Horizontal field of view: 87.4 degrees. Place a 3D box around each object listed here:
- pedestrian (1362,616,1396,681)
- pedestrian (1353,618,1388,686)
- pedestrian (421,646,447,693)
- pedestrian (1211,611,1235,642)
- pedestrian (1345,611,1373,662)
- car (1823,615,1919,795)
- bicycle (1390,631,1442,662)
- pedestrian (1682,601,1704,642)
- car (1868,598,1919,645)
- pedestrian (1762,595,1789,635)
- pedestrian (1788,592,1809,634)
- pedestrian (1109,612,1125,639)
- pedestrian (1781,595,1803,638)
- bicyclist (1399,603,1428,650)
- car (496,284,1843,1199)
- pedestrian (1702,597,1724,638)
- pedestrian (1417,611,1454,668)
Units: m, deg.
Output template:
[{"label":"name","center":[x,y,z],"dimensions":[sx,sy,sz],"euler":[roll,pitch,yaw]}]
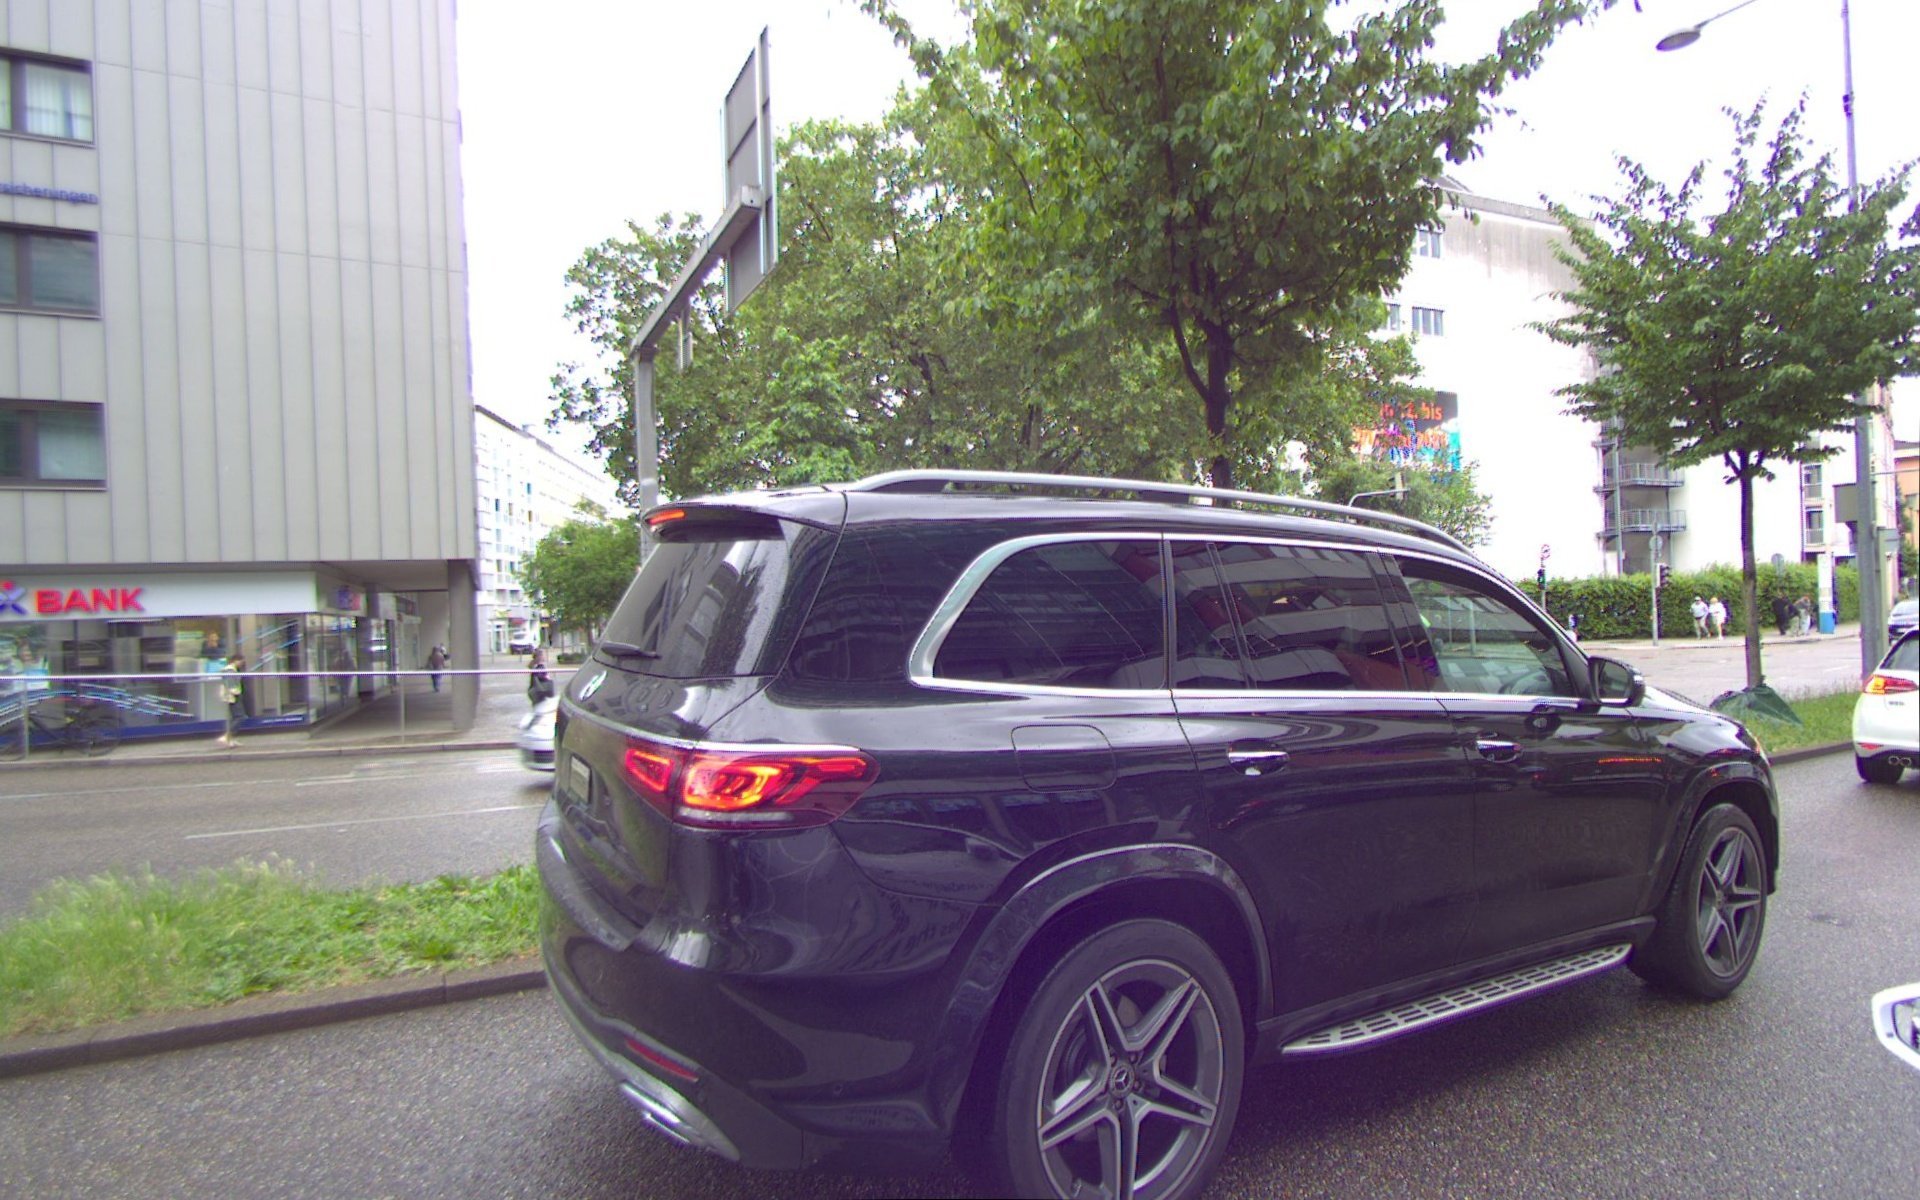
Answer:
[{"label":"pedestrian","center":[11.003,1.259,26.369],"dimensions":[0.572,1.684,0.554],"euler":[-2,0,-30]},{"label":"pedestrian","center":[10.316,1.294,25.263],"dimensions":[0.572,1.684,0.554],"euler":[-2,0,-30]},{"label":"pedestrian","center":[-19.633,2.590,37.494],"dimensions":[0.719,1.719,0.782],"euler":[2,-3,-37]},{"label":"pedestrian","center":[14.193,1.436,54.198],"dimensions":[0.677,1.599,1.055],"euler":[2,-1,-34]},{"label":"pedestrian","center":[13.546,1.238,34.106],"dimensions":[0.572,1.689,0.636],"euler":[-2,0,-30]},{"label":"car","center":[9.546,0.872,8.965],"dimensions":[3.799,1.448,1.768],"euler":[0,0,-32]},{"label":"bicycle","center":[15.298,1.561,33.696],"dimensions":[1.918,1.013,0.612],"euler":[2,-3,-31]},{"label":"pedestrian","center":[30.076,0.880,41.201],"dimensions":[0.522,1.620,0.576],"euler":[2,-1,-36]},{"label":"car","center":[32.210,0.701,33.855],"dimensions":[3.571,1.506,1.565],"euler":[0,1,-33]},{"label":"pedestrian","center":[35.207,0.646,43.367],"dimensions":[0.724,1.664,0.635],"euler":[2,-1,-27]},{"label":"pedestrian","center":[36.058,0.564,43.184],"dimensions":[0.559,1.771,0.535],"euler":[2,-1,-35]},{"label":"pedestrian","center":[9.846,1.586,62.904],"dimensions":[0.723,1.664,0.635],"euler":[2,-1,-23]},{"label":"pedestrian","center":[34.817,0.705,42.022],"dimensions":[0.741,1.771,0.535],"euler":[2,-1,-38]},{"label":"bicyclist","center":[15.197,0.905,33.668],"dimensions":[0.602,1.550,0.629],"euler":[2,-3,-30]},{"label":"car","center":[1.127,0.513,3.793],"dimensions":[5.016,1.895,1.901],"euler":[3,-1,-31]},{"label":"pedestrian","center":[30.449,0.695,40.612],"dimensions":[0.522,1.620,0.576],"euler":[2,-1,-36]},{"label":"pedestrian","center":[14.460,1.198,30.550],"dimensions":[0.620,1.684,0.749],"euler":[-2,0,-30]}]
